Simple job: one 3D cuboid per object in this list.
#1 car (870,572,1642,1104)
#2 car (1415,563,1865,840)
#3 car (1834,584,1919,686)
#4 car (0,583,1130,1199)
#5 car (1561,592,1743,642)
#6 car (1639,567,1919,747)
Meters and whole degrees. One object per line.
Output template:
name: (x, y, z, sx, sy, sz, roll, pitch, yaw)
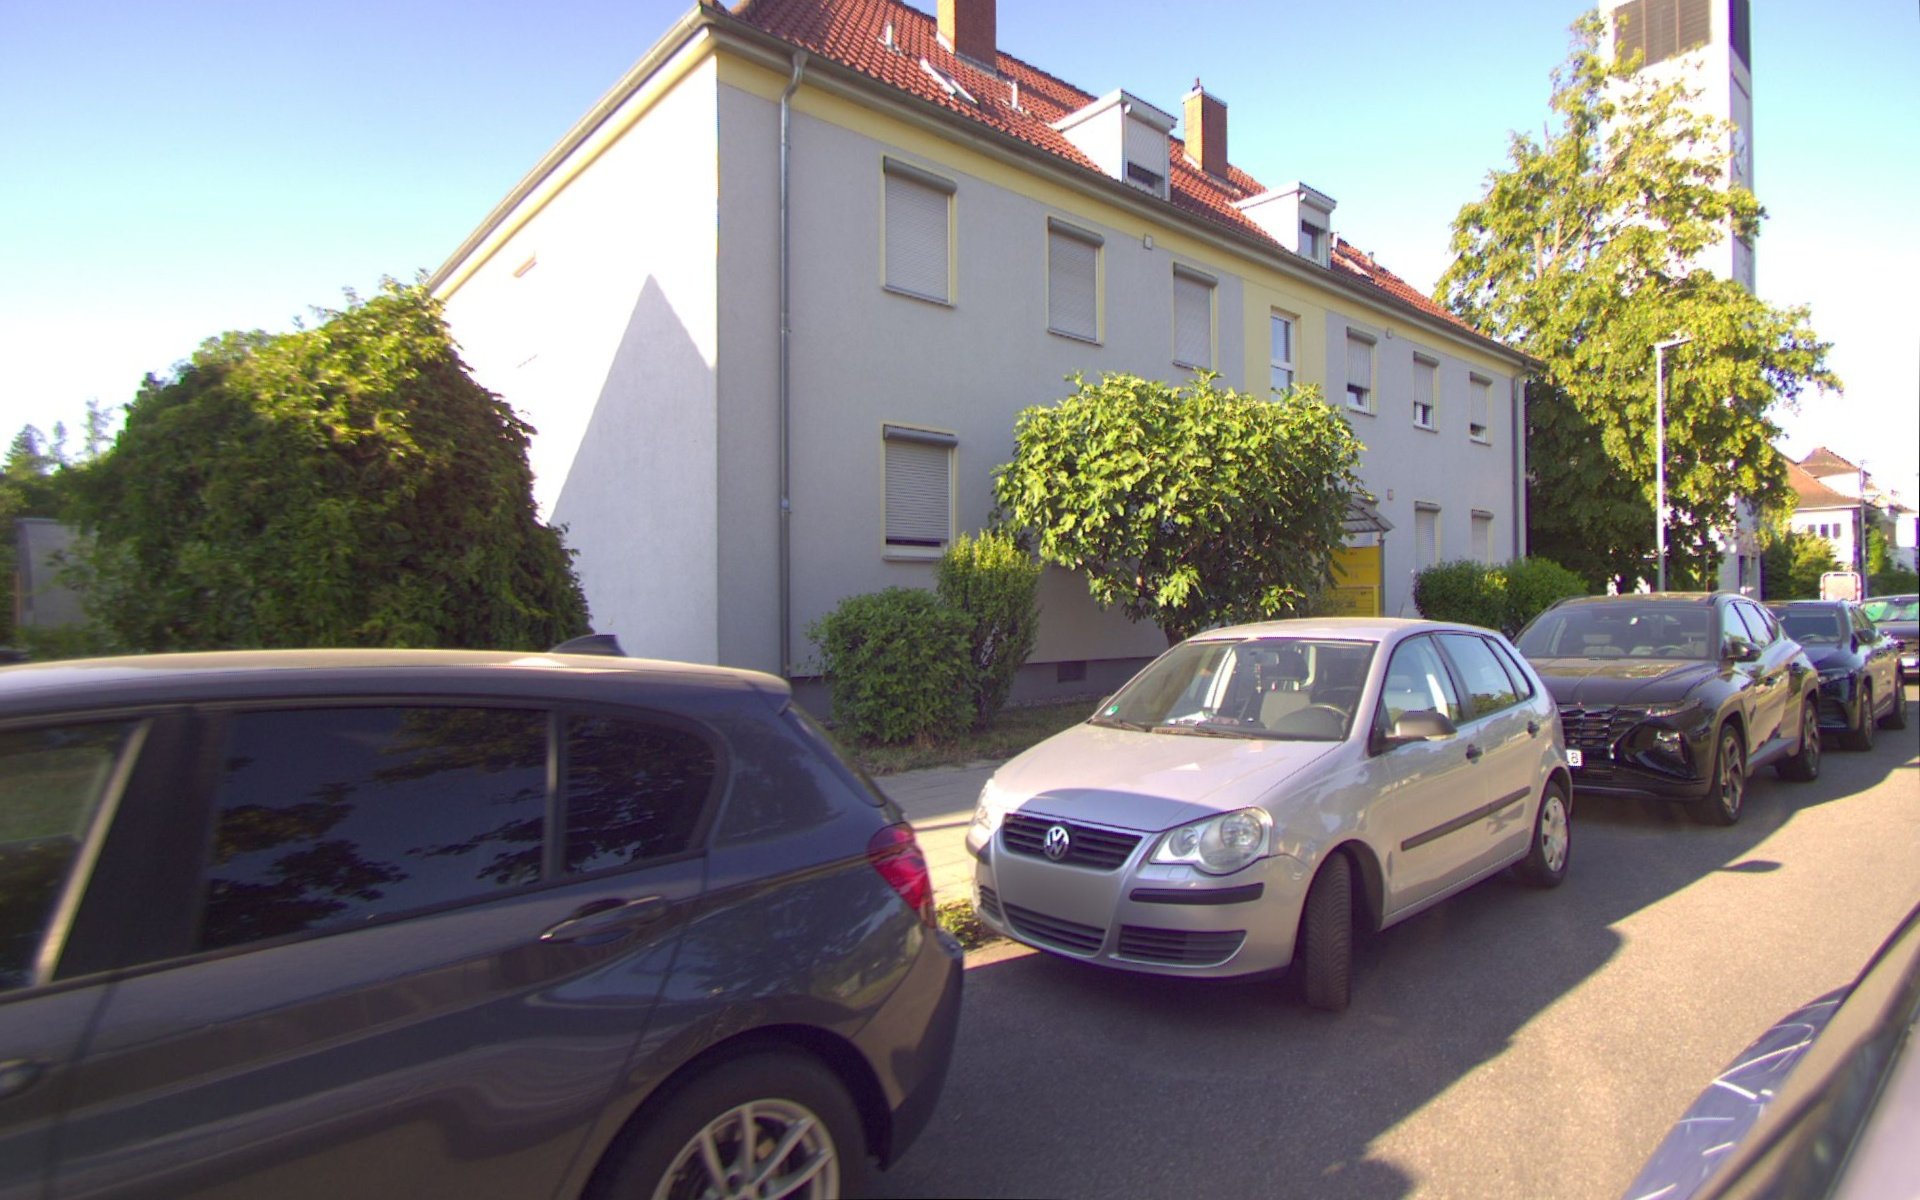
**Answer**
car: (1.753, 0.735, 5.063, 4.137, 1.568, 1.729, -1, -4, -43)
car: (5.821, 0.635, 8.400, 4.734, 1.678, 1.857, 0, -2, -40)
car: (18.249, 0.566, 19.154, 4.945, 1.754, 1.835, -1, -2, -41)
car: (-1.943, 0.752, 1.907, 4.480, 1.481, 1.997, 0, -2, -39)
car: (23.854, 0.577, 35.045, 1.969, 1.504, 4.854, -5, 2, -40)
car: (9.963, 0.596, 12.041, 4.540, 1.743, 1.935, 0, -3, -41)
